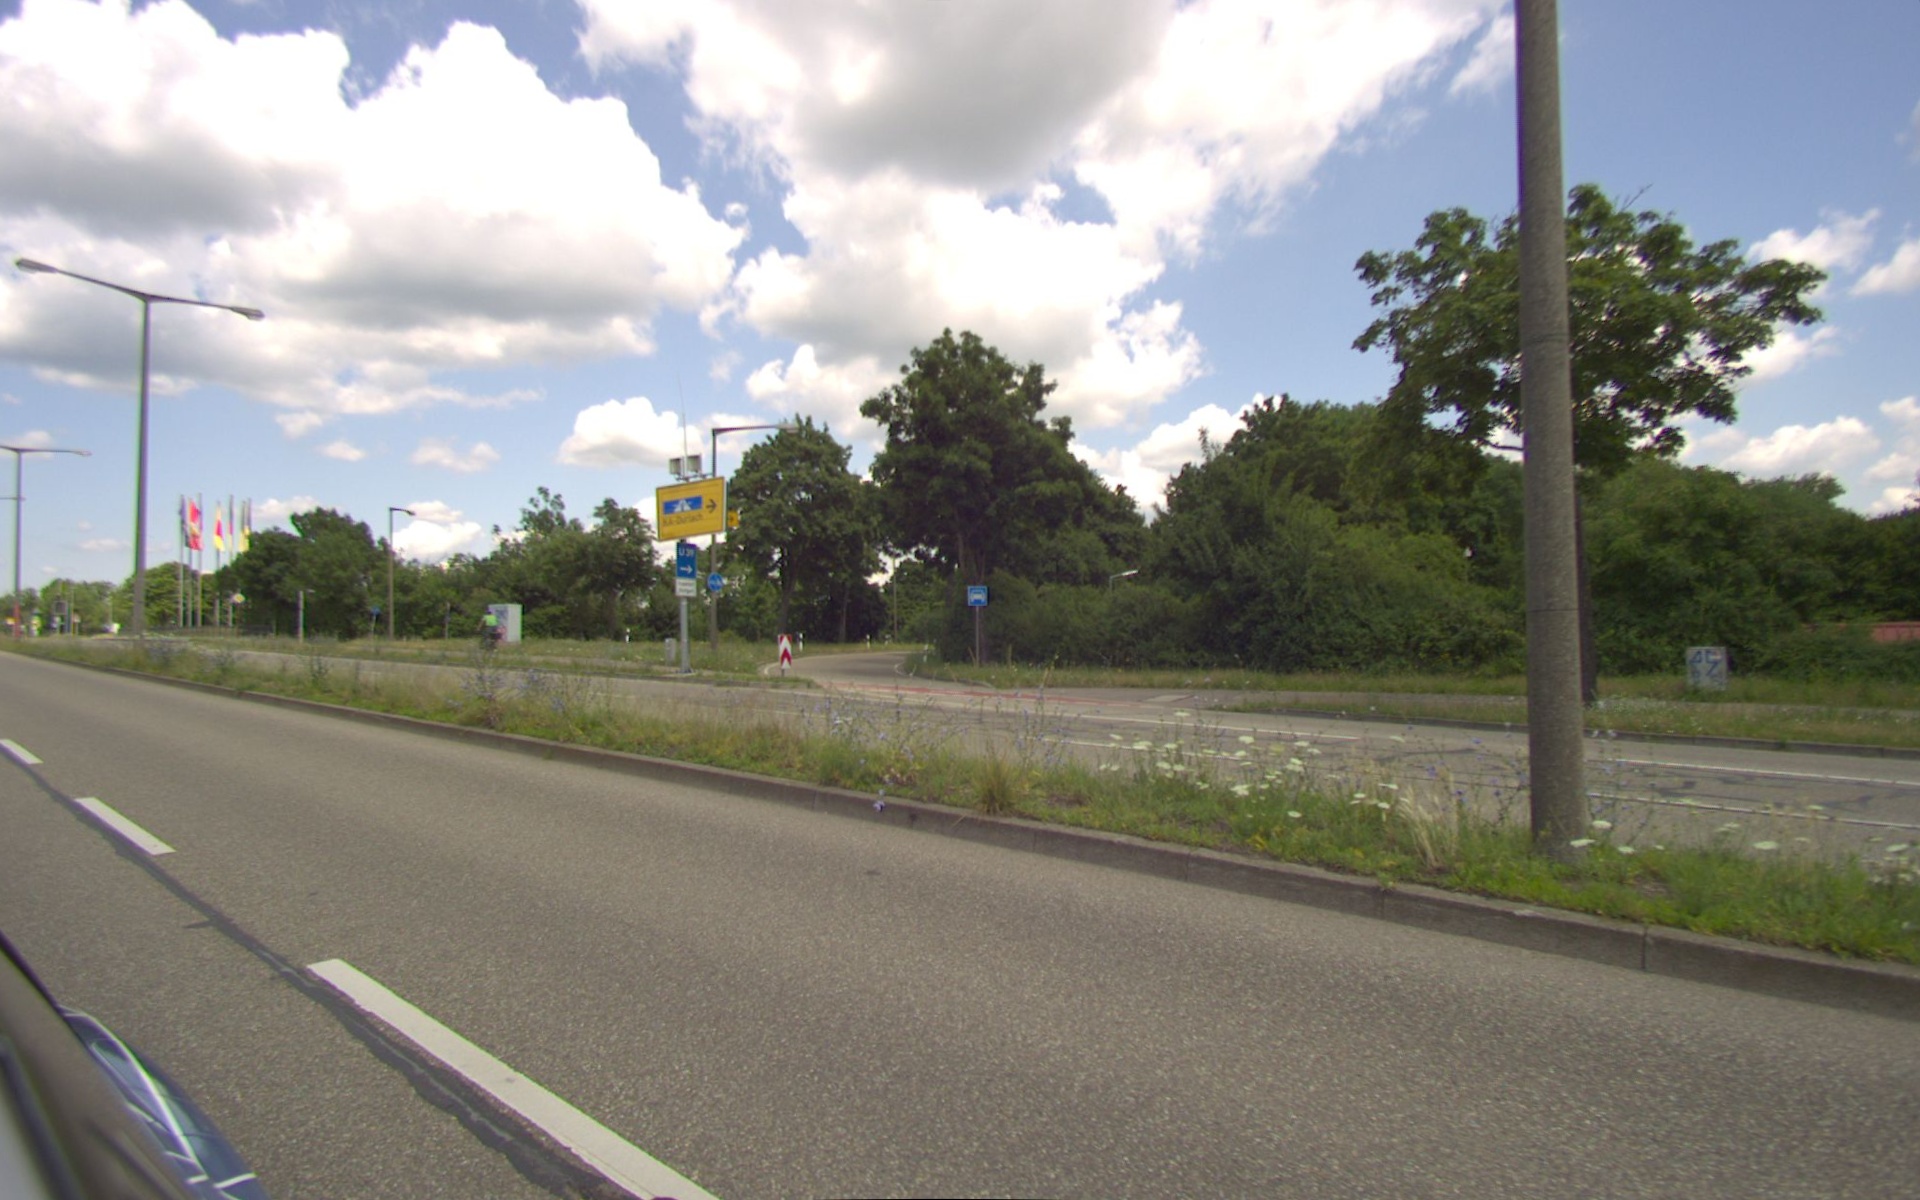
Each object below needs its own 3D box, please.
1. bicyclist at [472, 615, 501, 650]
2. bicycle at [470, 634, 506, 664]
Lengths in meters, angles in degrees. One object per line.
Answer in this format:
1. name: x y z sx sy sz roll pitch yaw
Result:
1. bicyclist: -17.706 1.210 37.860 1.105 1.282 0.515 -3 -2 39
2. bicycle: -17.674 1.852 37.880 1.905 1.076 0.427 -3 -2 39
